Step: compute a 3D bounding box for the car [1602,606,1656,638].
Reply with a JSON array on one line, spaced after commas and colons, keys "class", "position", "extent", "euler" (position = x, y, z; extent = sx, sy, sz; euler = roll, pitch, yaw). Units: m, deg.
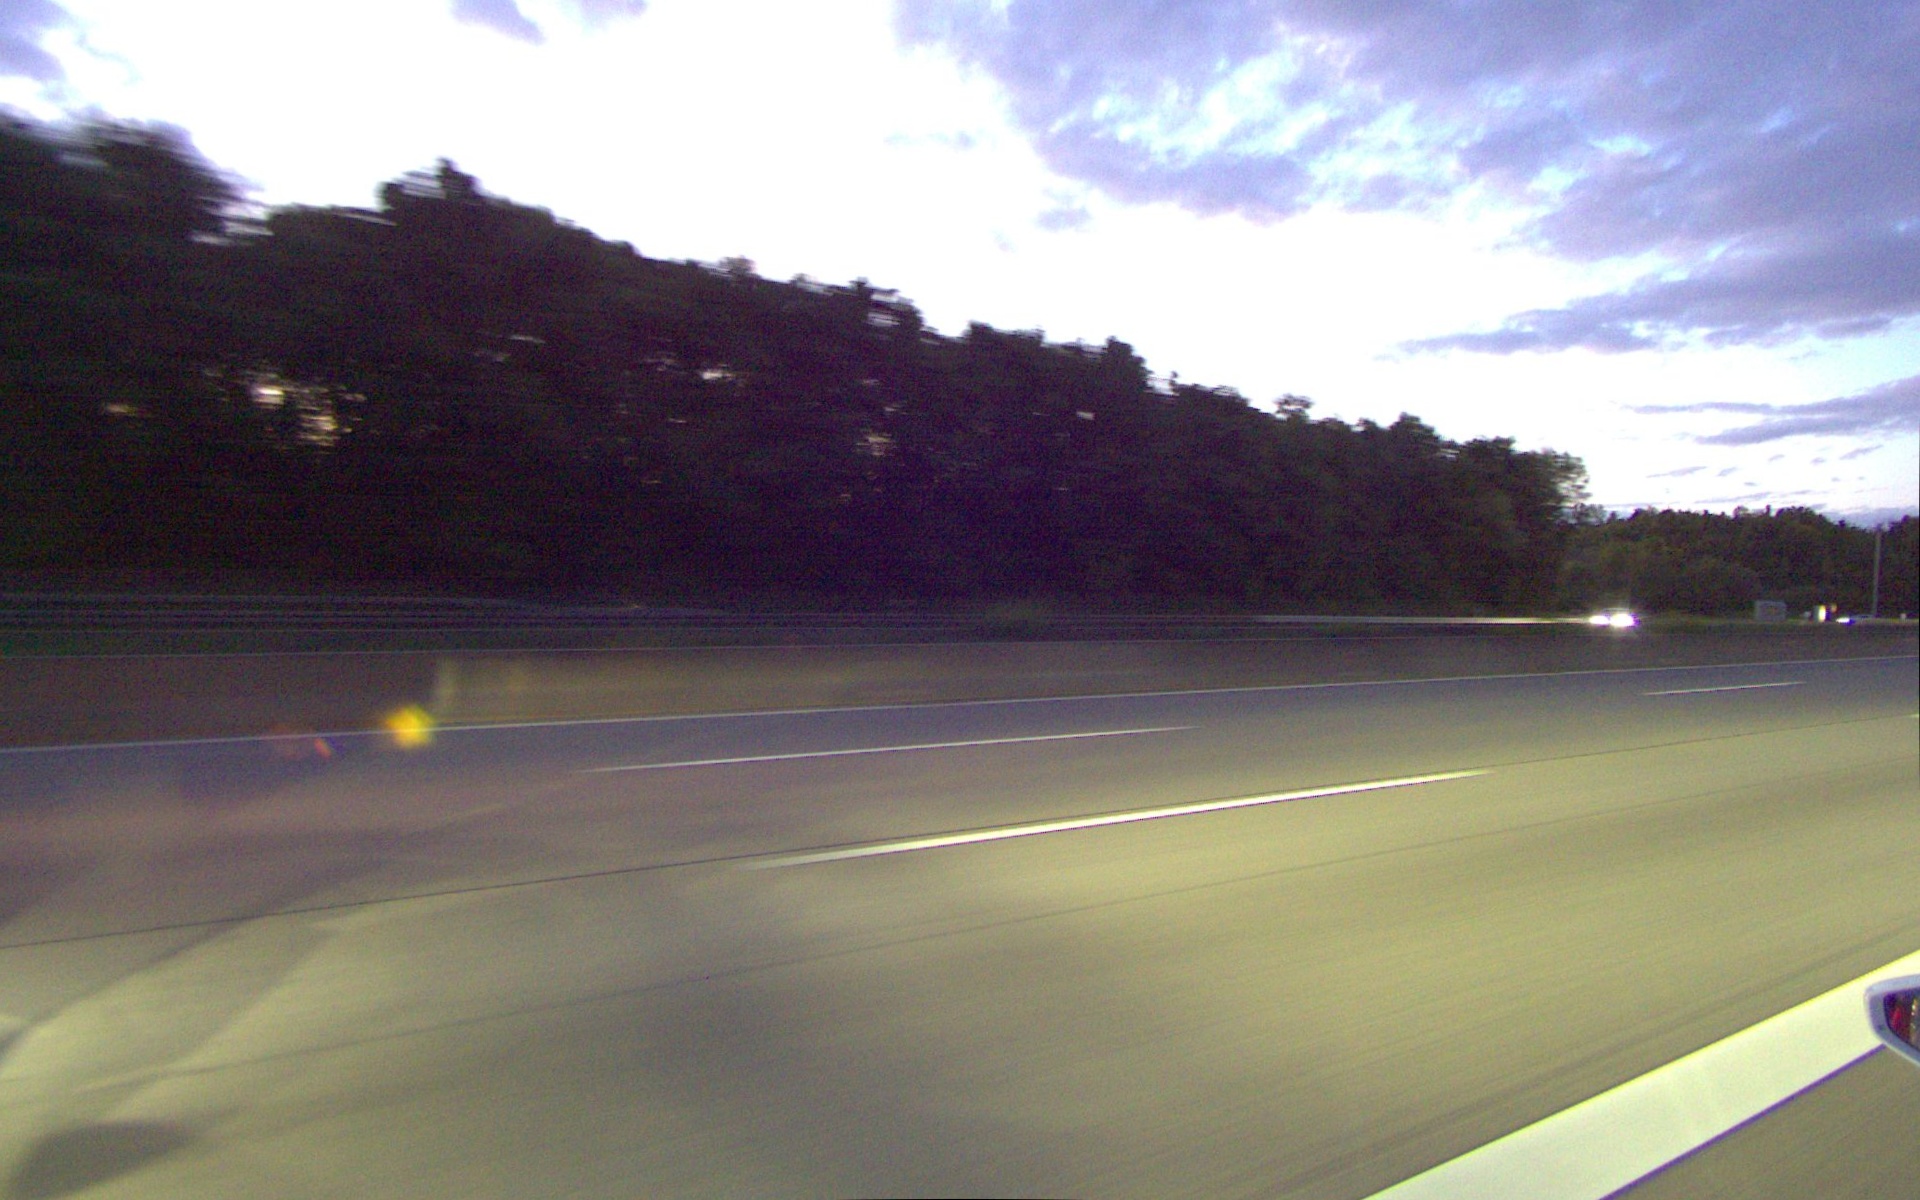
[{"class": "car", "position": [45.025, 1.492, 67.561], "extent": [4.977, 2.040, 1.974], "euler": [2, 0, -44]}]
